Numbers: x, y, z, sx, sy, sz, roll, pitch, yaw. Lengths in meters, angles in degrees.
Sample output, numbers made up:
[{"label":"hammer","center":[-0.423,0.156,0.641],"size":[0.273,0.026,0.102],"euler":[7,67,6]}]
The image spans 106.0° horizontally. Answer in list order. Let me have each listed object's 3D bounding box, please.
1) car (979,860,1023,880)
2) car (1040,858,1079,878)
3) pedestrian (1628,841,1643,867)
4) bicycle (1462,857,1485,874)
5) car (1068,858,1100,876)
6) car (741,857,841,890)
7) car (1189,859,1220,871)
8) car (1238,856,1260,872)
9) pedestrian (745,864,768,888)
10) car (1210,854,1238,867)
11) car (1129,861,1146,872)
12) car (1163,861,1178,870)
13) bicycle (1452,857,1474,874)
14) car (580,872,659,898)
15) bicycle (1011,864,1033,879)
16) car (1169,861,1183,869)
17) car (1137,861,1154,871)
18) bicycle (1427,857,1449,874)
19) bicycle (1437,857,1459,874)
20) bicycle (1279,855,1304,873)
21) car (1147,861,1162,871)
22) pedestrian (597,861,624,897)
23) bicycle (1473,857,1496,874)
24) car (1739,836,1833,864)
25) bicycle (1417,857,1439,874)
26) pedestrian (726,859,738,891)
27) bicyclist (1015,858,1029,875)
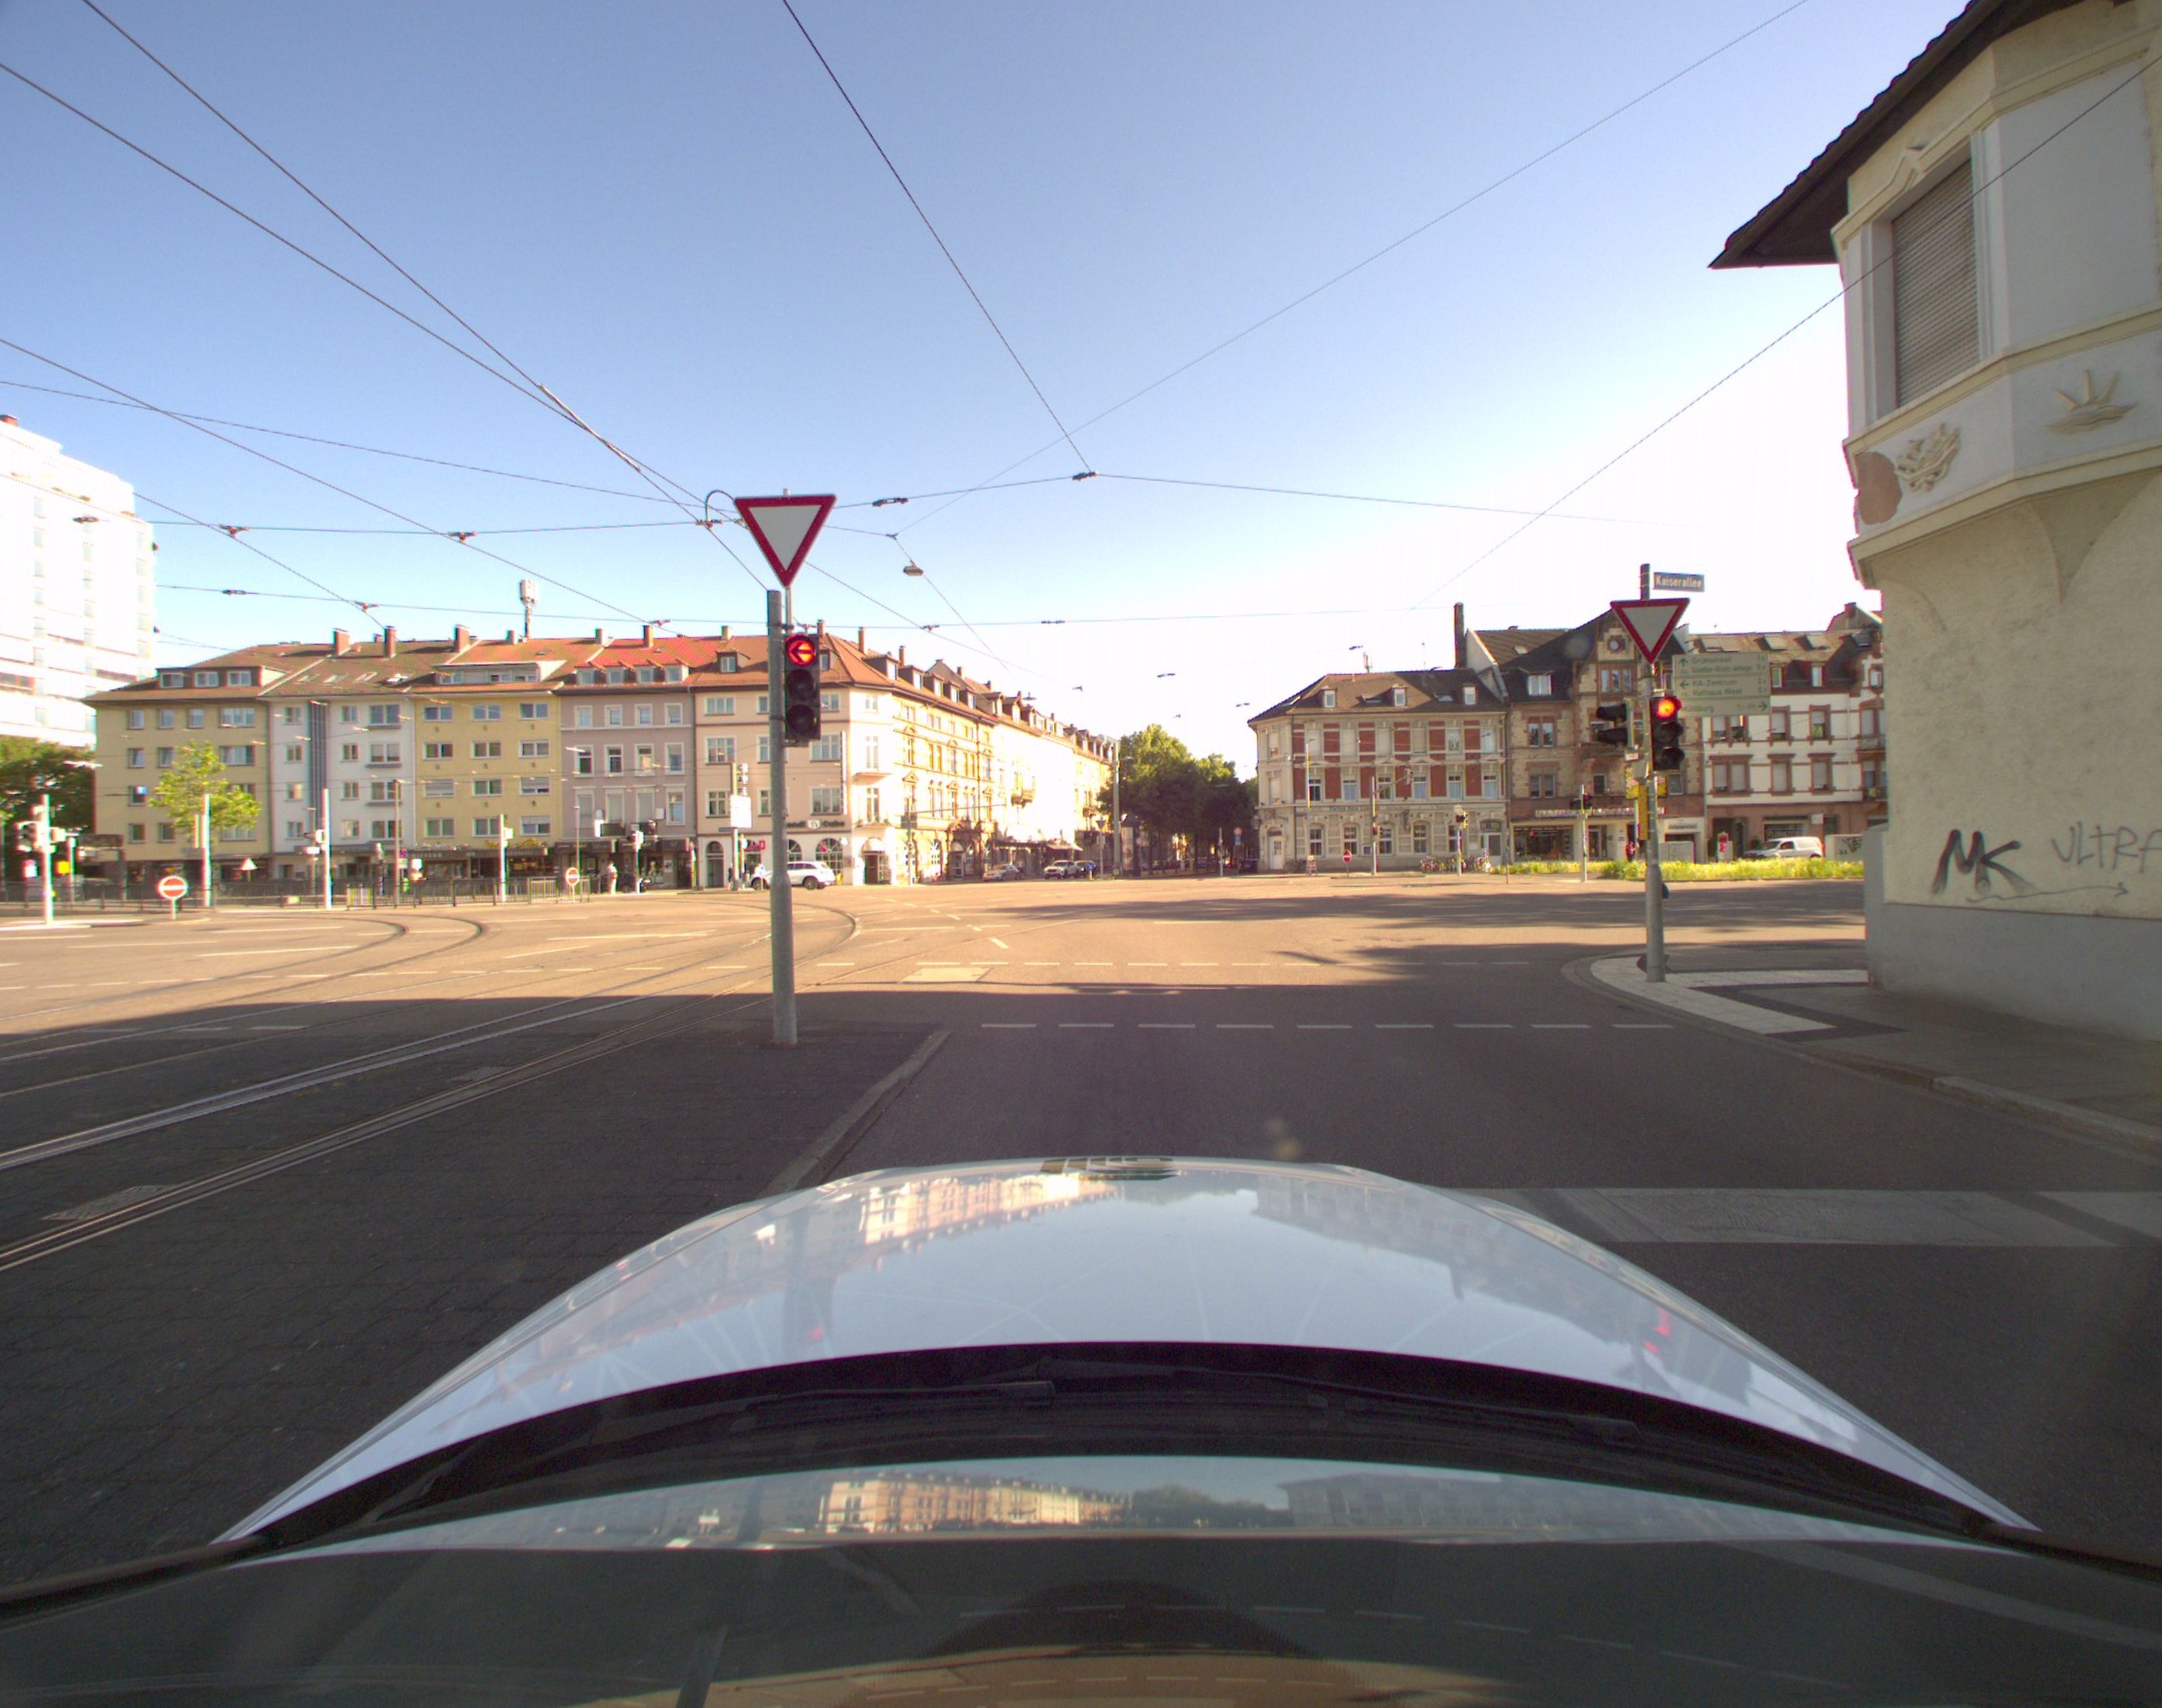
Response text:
[{"label":"car","center":[-6.592,1.305,67.697],"size":[2.080,1.545,4.382],"euler":[-2,0,16]},{"label":"car","center":[-1.725,1.164,67.367],"size":[2.080,1.499,4.017],"euler":[-2,0,16]},{"label":"pedestrian","center":[37.777,0.006,55.453],"size":[0.705,1.751,0.421],"euler":[-1,0,3]},{"label":"bicycle","center":[25.320,0.717,52.617],"size":[0.603,1.051,1.641],"euler":[-1,0,-3]},{"label":"car","center":[0.297,1.152,73.690],"size":[1.979,1.513,4.015],"euler":[-1,0,14]},{"label":"car","center":[-16.251,1.077,45.849],"size":[4.833,1.660,1.999],"euler":[-1,0,-1]},{"label":"car","center":[17.492,1.530,114.991],"size":[4.078,1.646,1.754],"euler":[1,0,17]},{"label":"car","center":[16.911,0.993,82.050],"size":[1.637,1.524,3.772],"euler":[-2,-1,20]},{"label":"pedestrian","center":[-21.886,1.465,54.990],"size":[1.060,1.591,1.043],"euler":[-1,0,4]},{"label":"car","center":[23.378,1.092,133.070],"size":[4.074,1.919,1.756],"euler":[1,0,23]},{"label":"car","center":[7.608,1.654,110.000],"size":[1.729,1.397,4.137],"euler":[1,0,12]},{"label":"car","center":[14.447,1.816,131.454],"size":[1.728,1.397,4.141],"euler":[1,0,16]},{"label":"bicycle","center":[24.645,0.721,52.567],"size":[0.603,1.051,1.641],"euler":[-1,0,-3]},{"label":"car","center":[-30.269,1.992,53.531],"size":[3.978,1.464,1.998],"euler":[-2,0,-4]},{"label":"bicycle","center":[-4.763,1.431,65.897],"size":[0.745,1.135,2.821],"euler":[-1,0,16]},{"label":"car","center":[15.871,1.840,136.202],"size":[1.728,1.397,4.141],"euler":[1,0,16]},{"label":"car","center":[9.182,1.690,115.771],"size":[1.729,1.397,4.137],"euler":[1,0,12]},{"label":"bicycle","center":[23.155,0.735,52.868],"size":[0.603,1.051,1.641],"euler":[-1,0,-3]},{"label":"bicycle","center":[23.818,0.730,52.868],"size":[0.603,1.051,1.641],"euler":[-1,0,-3]},{"label":"bicycle","center":[14.701,0.691,56.937],"size":[1.625,1.222,0.609],"euler":[-1,0,18]},{"label":"car","center":[11.070,1.733,122.707],"size":[1.729,1.397,4.137],"euler":[1,0,12]},{"label":"pedestrian","center":[-24.565,1.310,42.554],"size":[0.871,1.818,0.811],"euler":[-1,0,2]},{"label":"bicycle","center":[26.059,0.711,52.609],"size":[0.603,1.051,1.641],"euler":[-1,0,-3]},{"label":"car","center":[45.390,-0.232,52.470],"size":[4.356,1.654,1.999],"euler":[-1,0,-2]},{"label":"bicycle","center":[22.501,0.739,52.837],"size":[0.603,1.051,1.641],"euler":[-1,0,-3]},{"label":"pedestrian","center":[-22.772,1.358,53.120],"size":[0.506,2.013,0.505],"euler":[-1,0,5]},{"label":"bicyclist","center":[-4.761,0.988,65.869],"size":[0.787,1.375,1.113],"euler":[-1,0,16]}]
